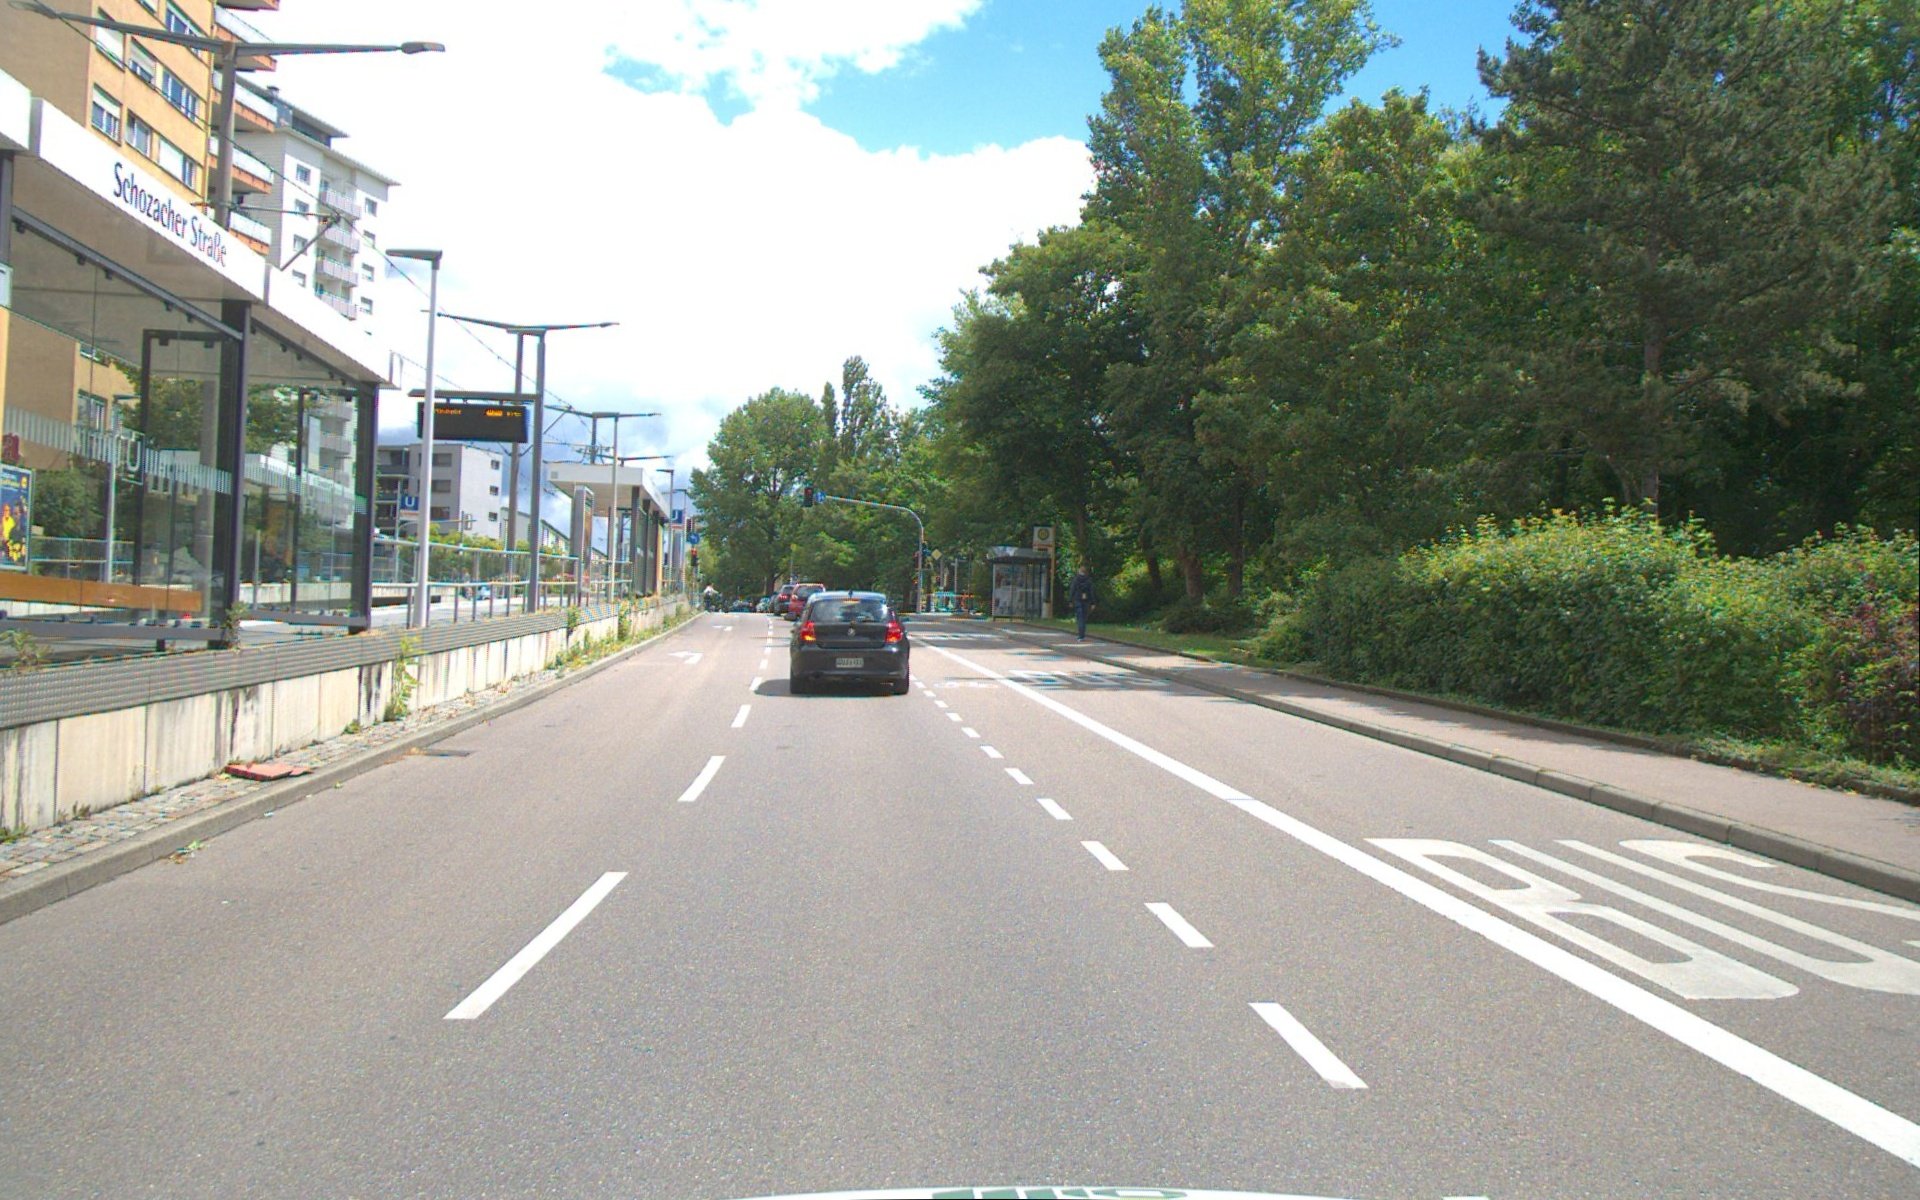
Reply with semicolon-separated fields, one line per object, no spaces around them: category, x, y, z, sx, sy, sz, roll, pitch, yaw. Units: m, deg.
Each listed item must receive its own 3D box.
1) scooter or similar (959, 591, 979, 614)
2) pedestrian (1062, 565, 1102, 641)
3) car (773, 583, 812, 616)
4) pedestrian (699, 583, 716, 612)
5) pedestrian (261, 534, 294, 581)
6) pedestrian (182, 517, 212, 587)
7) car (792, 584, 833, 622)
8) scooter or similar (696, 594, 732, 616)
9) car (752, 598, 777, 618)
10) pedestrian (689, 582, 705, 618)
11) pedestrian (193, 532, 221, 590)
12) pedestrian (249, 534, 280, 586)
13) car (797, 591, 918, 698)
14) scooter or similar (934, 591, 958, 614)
scooter or similar;0.493;0.128;90.342;1.090;1.280;0.330;1;0;-19
pedestrian;3.198;0.078;43.608;0.786;1.928;1.269;2;0;-6
car;-7.725;-0.019;75.971;1.623;1.443;3.510;1;0;-8
pedestrian;-12.739;-0.129;83.488;0.849;1.468;0.797;1;0;-9
pedestrian;-18.860;-1.168;45.704;0.728;1.258;0.517;1;0;-6
pedestrian;-18.623;-1.161;40.365;0.516;1.673;0.557;1;0;-39
car;-5.895;0.100;66.040;1.564;1.443;3.512;1;0;-6
scooter or similar;-12.347;0.252;83.043;1.757;1.069;0.407;1;0;-25
car;-15.167;0.593;128.438;1.621;1.443;3.515;2;0;-2
pedestrian;-11.997;-0.008;75.452;0.687;1.661;0.637;0;0;-8
pedestrian;-18.706;-0.960;41.110;0.532;1.404;0.519;1;-3;-15
pedestrian;-18.873;-1.079;44.873;0.631;1.393;0.506;1;0;-6
car;-1.539;0.599;24.286;1.622;1.443;3.513;1;0;-5
scooter or similar;-0.744;0.125;89.436;1.270;1.210;0.382;1;0;-23
